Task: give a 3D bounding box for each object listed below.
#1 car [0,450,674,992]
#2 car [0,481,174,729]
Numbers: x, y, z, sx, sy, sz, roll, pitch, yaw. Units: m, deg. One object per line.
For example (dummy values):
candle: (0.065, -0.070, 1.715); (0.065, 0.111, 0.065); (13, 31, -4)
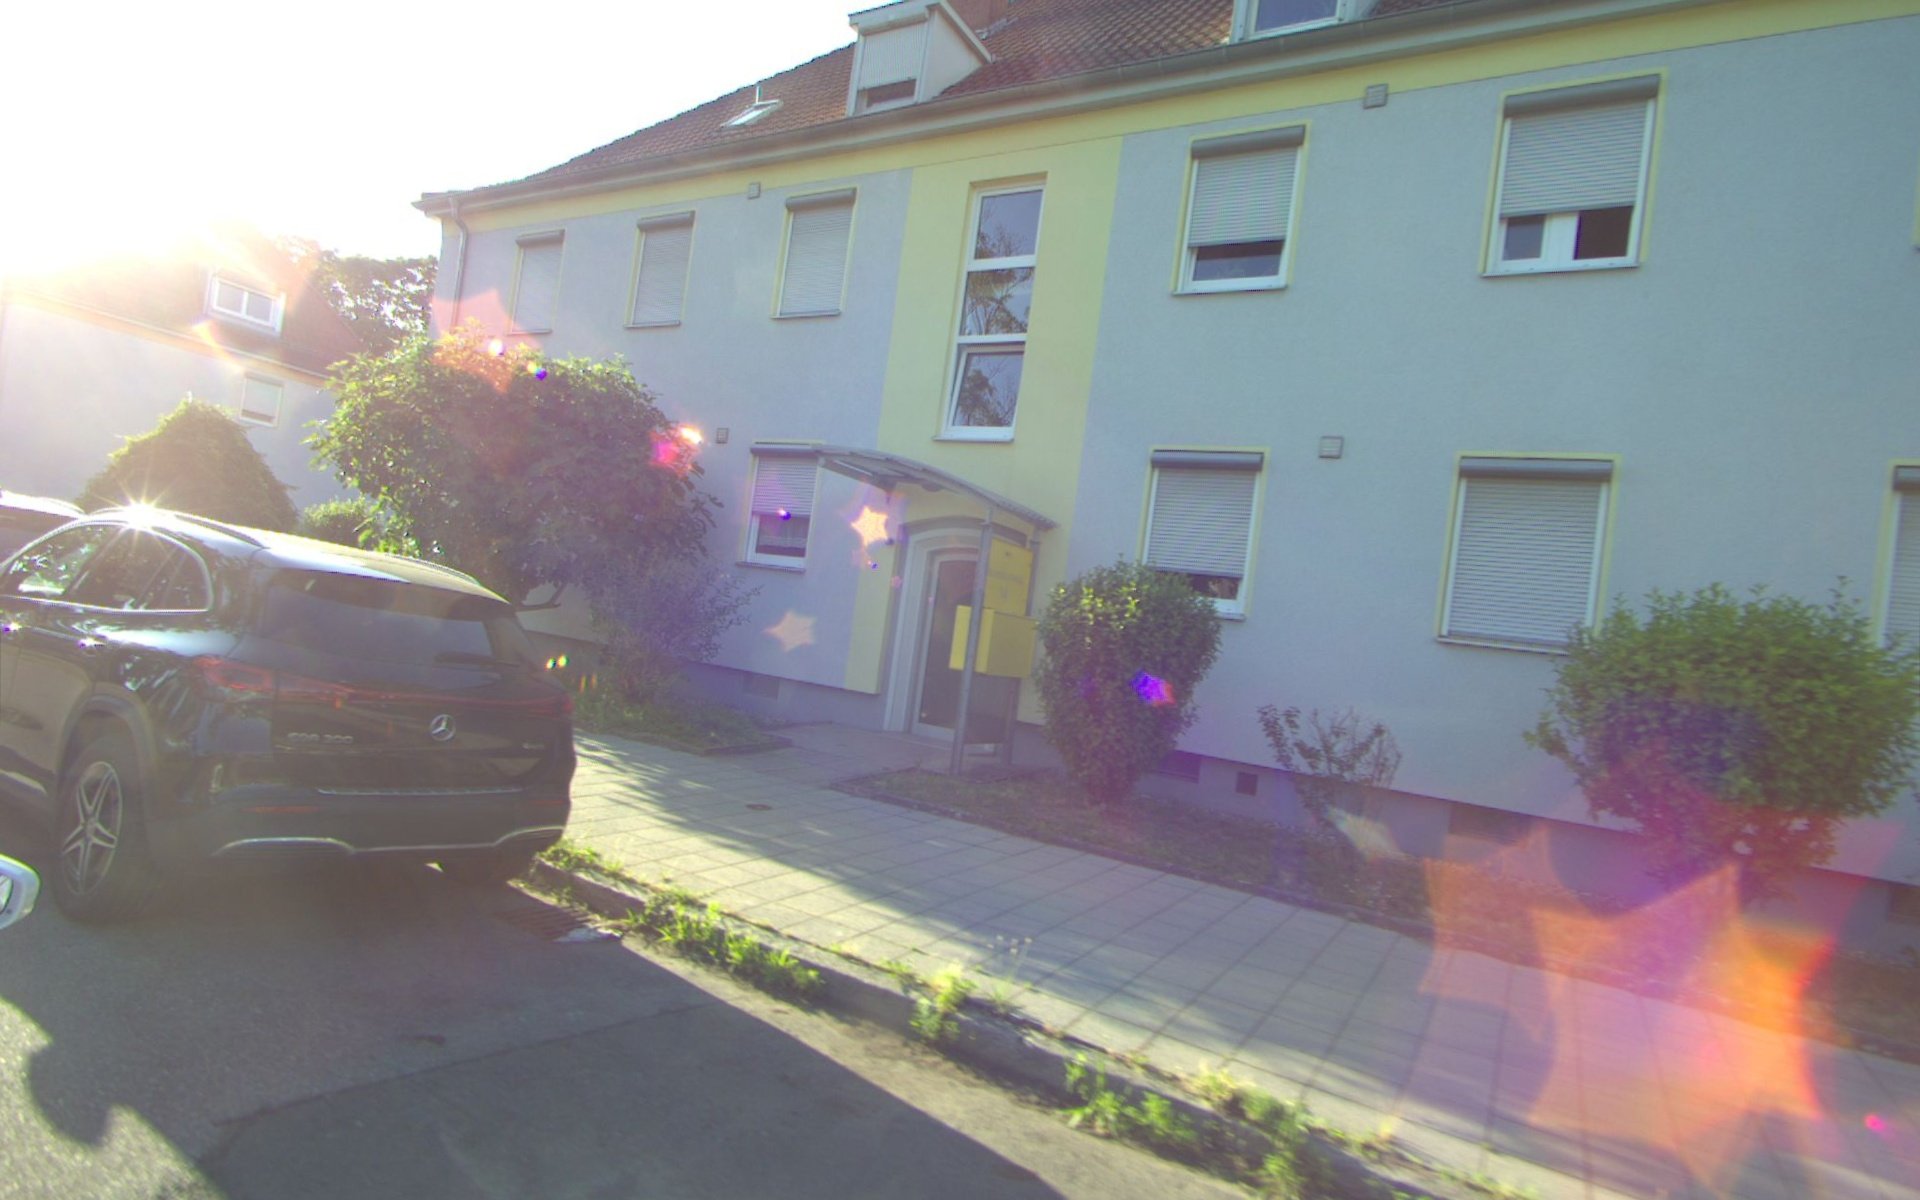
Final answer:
car: (-3.960, 0.330, 5.303); (4.544, 1.738, 1.940); (7, -5, 31)
car: (-8.578, -0.199, 8.117); (4.740, 1.675, 1.859); (7, -3, 32)
